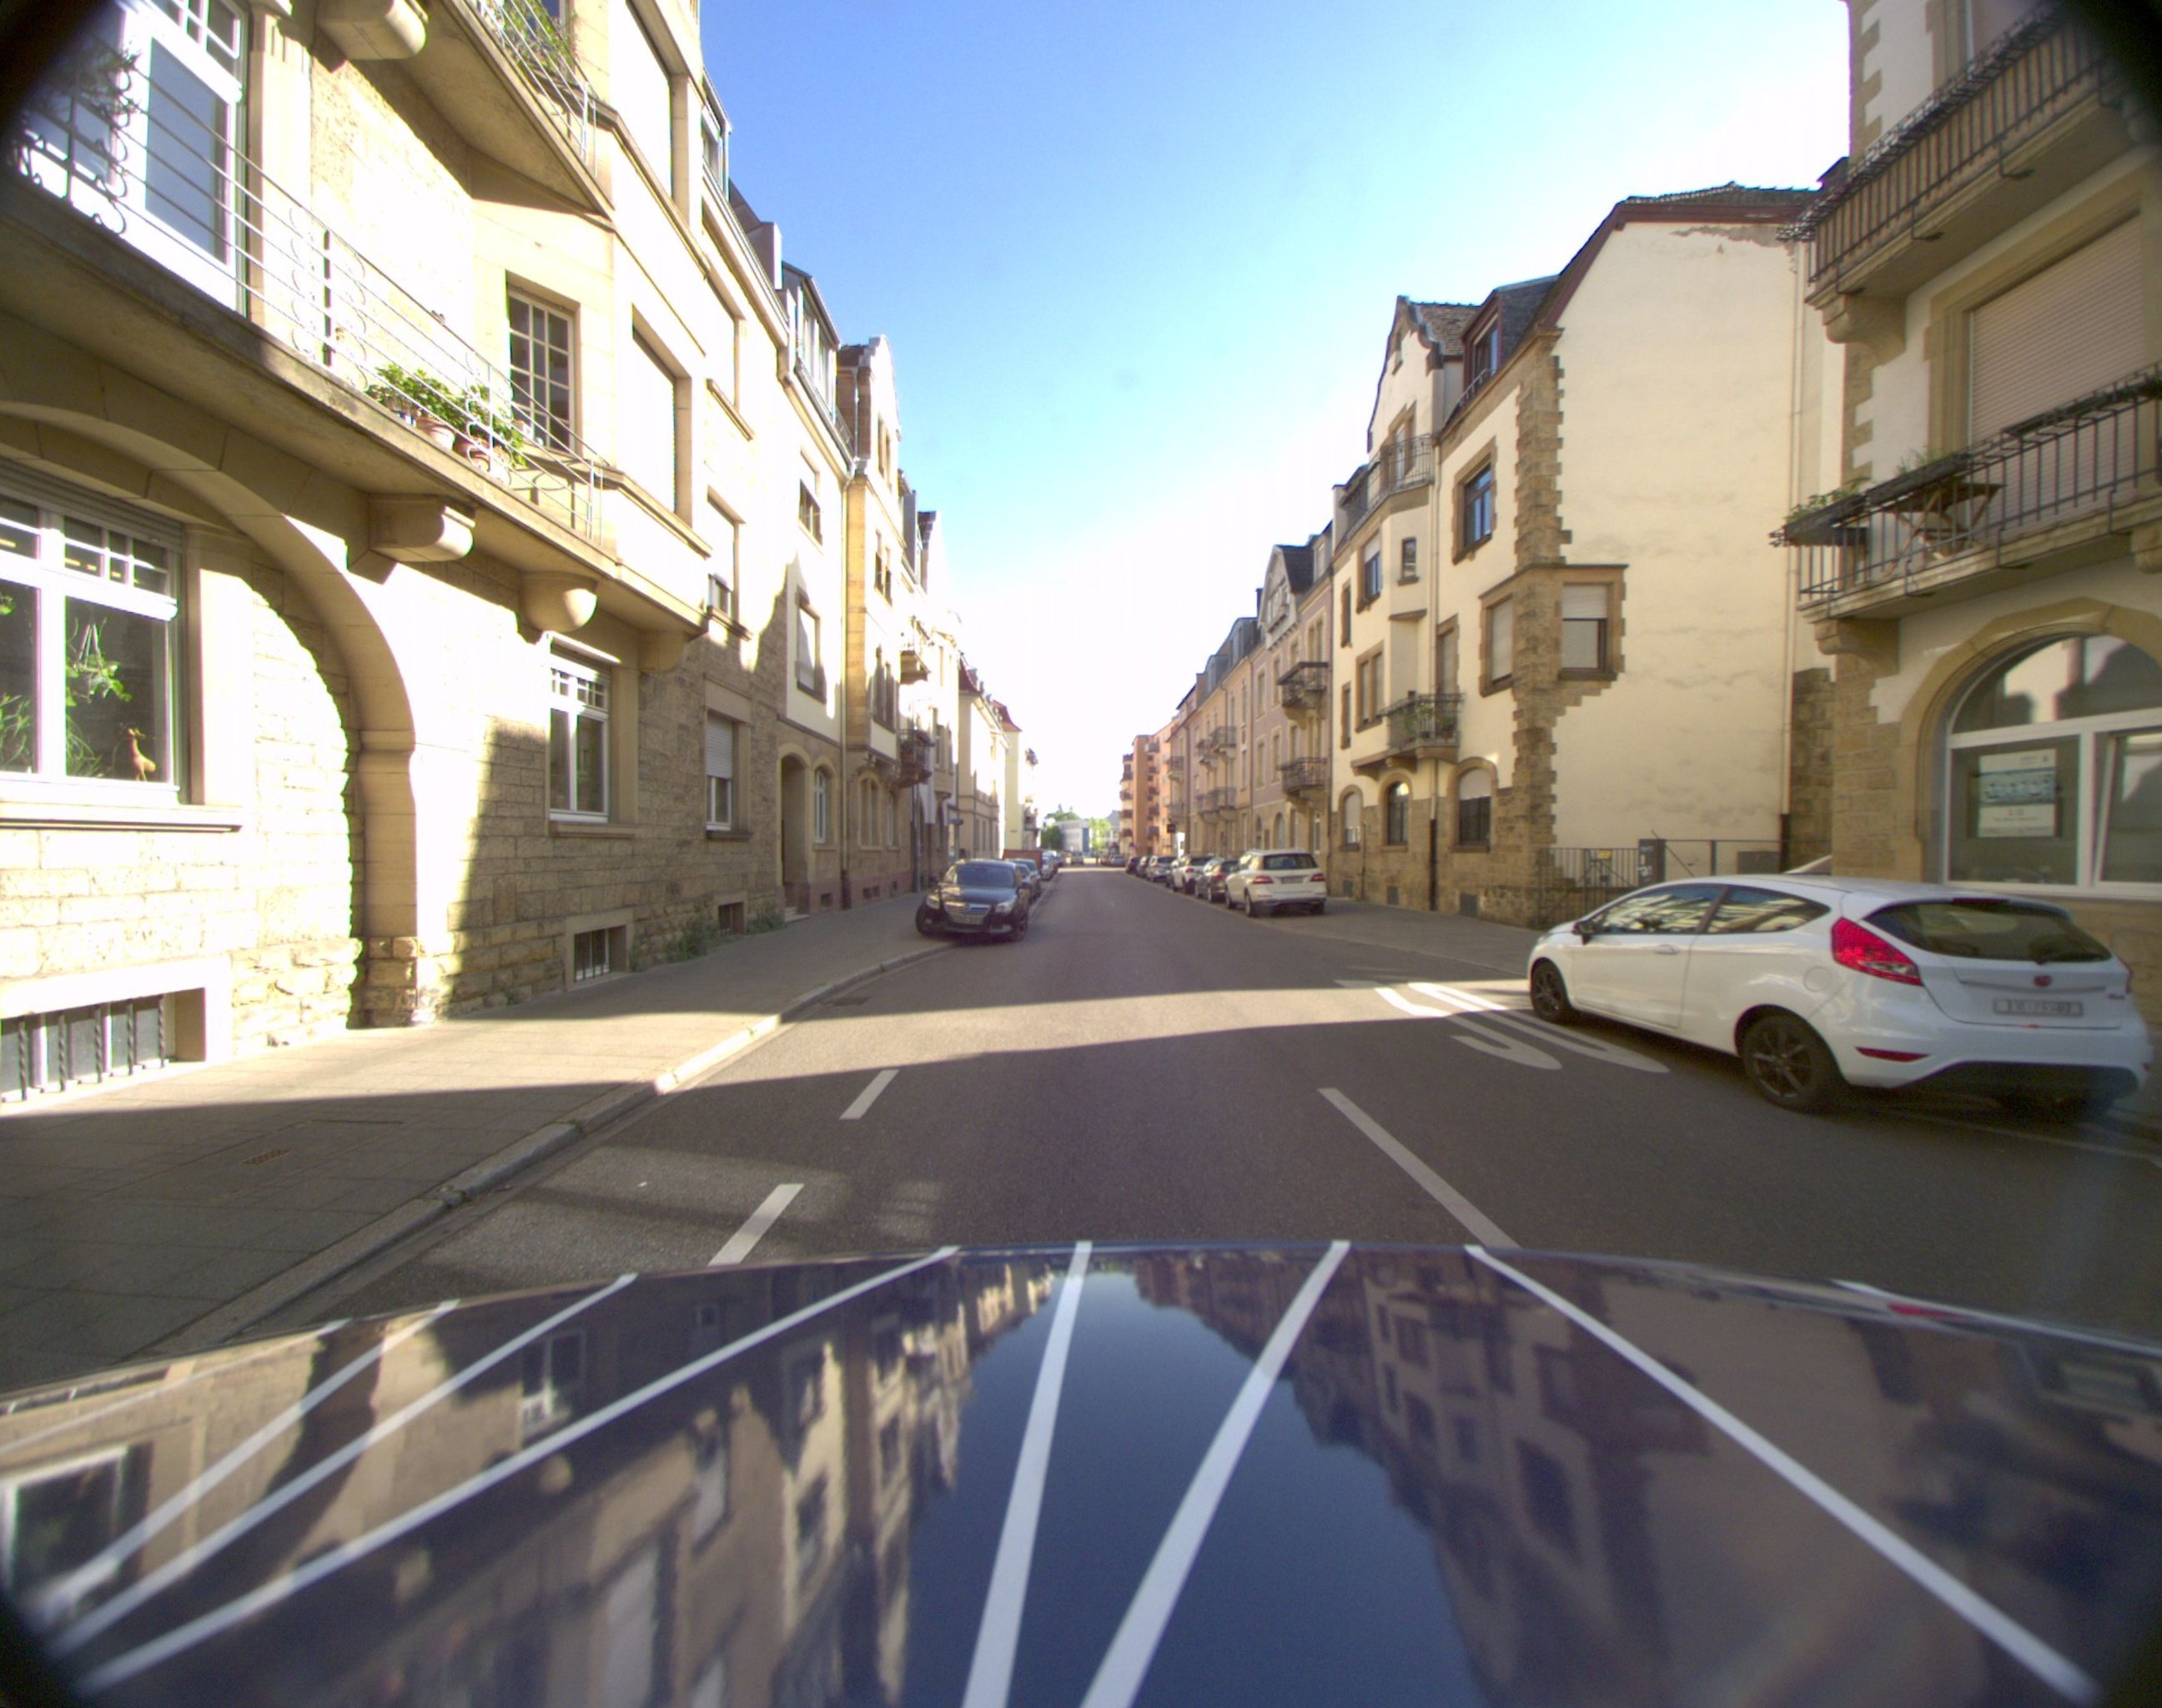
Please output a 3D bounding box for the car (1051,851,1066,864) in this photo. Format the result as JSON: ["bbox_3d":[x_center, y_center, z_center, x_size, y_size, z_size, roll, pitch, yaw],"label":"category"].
[{"bbox_3d":[-2.610,0.383,87.889,1.708,1.417,3.721,1,1,-1],"label":"car"}]

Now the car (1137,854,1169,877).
[{"bbox_3d":[4.896,0.754,52.392,1.719,1.512,4.109,1,0,-1],"label":"car"}]

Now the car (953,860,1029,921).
[{"bbox_3d":[-2.383,0.923,21.012,1.655,1.434,4.257,1,0,-1],"label":"car"}]

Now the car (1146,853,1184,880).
[{"bbox_3d":[5.003,0.722,45.700,1.719,1.529,3.722,-1,0,-2],"label":"car"}]

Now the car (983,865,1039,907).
[{"bbox_3d":[-2.349,1.041,26.226,1.697,1.247,3.940,-1,0,-2],"label":"car"}]

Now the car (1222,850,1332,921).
[{"bbox_3d":[5.214,0.756,20.923,1.896,1.712,4.726,-1,0,1],"label":"car"}]

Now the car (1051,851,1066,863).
[{"bbox_3d":[-2.753,0.338,93.352,1.708,1.417,3.721,1,1,-1],"label":"car"}]

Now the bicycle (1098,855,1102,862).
[{"bbox_3d":[2.603,0.616,105.947,0.541,1.070,1.800,0,0,1],"label":"bicycle"}]

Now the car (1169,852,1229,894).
[{"bbox_3d":[4.921,0.743,32.185,1.719,1.574,4.019,-3,0,-2],"label":"car"}]

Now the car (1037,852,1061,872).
[{"bbox_3d":[-2.642,0.639,63.520,1.791,1.655,4.434,0,0,1],"label":"car"}]

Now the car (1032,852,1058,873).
[{"bbox_3d":[-2.760,0.603,59.086,1.684,1.537,3.914,1,0,1],"label":"car"}]

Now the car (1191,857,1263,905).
[{"bbox_3d":[5.028,0.867,26.693,1.578,1.479,4.279,-2,0,-2],"label":"car"}]

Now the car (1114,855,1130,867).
[{"bbox_3d":[4.872,0.809,91.221,1.678,1.414,3.500,0,0,0],"label":"car"}]

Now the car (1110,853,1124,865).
[{"bbox_3d":[4.527,0.625,96.145,1.678,1.414,3.285,0,0,0],"label":"car"}]

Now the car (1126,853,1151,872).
[{"bbox_3d":[4.727,0.676,62.679,1.719,1.378,3.864,-3,0,0],"label":"car"}]

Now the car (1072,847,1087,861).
[{"bbox_3d":[-0.240,0.049,106.697,1.868,1.925,4.598,0,0,-3],"label":"car"}]

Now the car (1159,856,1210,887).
[{"bbox_3d":[5.041,0.834,37.570,1.677,1.385,3.664,-3,0,-5],"label":"car"}]

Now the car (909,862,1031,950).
[{"bbox_3d":[-2.068,0.922,15.351,1.870,1.454,4.338,0,0,-1],"label":"car"}]

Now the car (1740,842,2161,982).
[{"bbox_3d":[11.835,0.720,10.383,3.978,1.718,1.909,0,0,0],"label":"car"}]

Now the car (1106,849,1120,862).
[{"bbox_3d":[4.441,0.186,106.930,1.822,1.867,4.111,0,0,0],"label":"car"}]

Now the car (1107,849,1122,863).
[{"bbox_3d":[4.521,0.236,102.027,1.822,1.867,4.110,0,0,0],"label":"car"}]

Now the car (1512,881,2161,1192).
[{"bbox_3d":[5.134,1.015,5.823,1.637,1.455,3.735,0,1,2],"label":"car"}]

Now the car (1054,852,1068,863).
[{"bbox_3d":[-2.648,0.408,99.702,1.708,1.417,3.721,0,0,-2],"label":"car"}]

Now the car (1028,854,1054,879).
[{"bbox_3d":[-2.469,0.746,47.631,1.590,1.456,3.711,0,0,-2],"label":"car"}]

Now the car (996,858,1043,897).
[{"bbox_3d":[-2.447,0.887,30.592,1.791,1.421,3.806,0,0,-4],"label":"car"}]

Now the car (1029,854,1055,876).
[{"bbox_3d":[-2.667,0.738,53.018,1.657,1.456,4.093,0,0,-1],"label":"car"}]

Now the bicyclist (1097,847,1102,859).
[{"bbox_3d":[2.586,-0.137,105.943,0.609,1.656,0.632,0,1,0],"label":"bicyclist"}]
